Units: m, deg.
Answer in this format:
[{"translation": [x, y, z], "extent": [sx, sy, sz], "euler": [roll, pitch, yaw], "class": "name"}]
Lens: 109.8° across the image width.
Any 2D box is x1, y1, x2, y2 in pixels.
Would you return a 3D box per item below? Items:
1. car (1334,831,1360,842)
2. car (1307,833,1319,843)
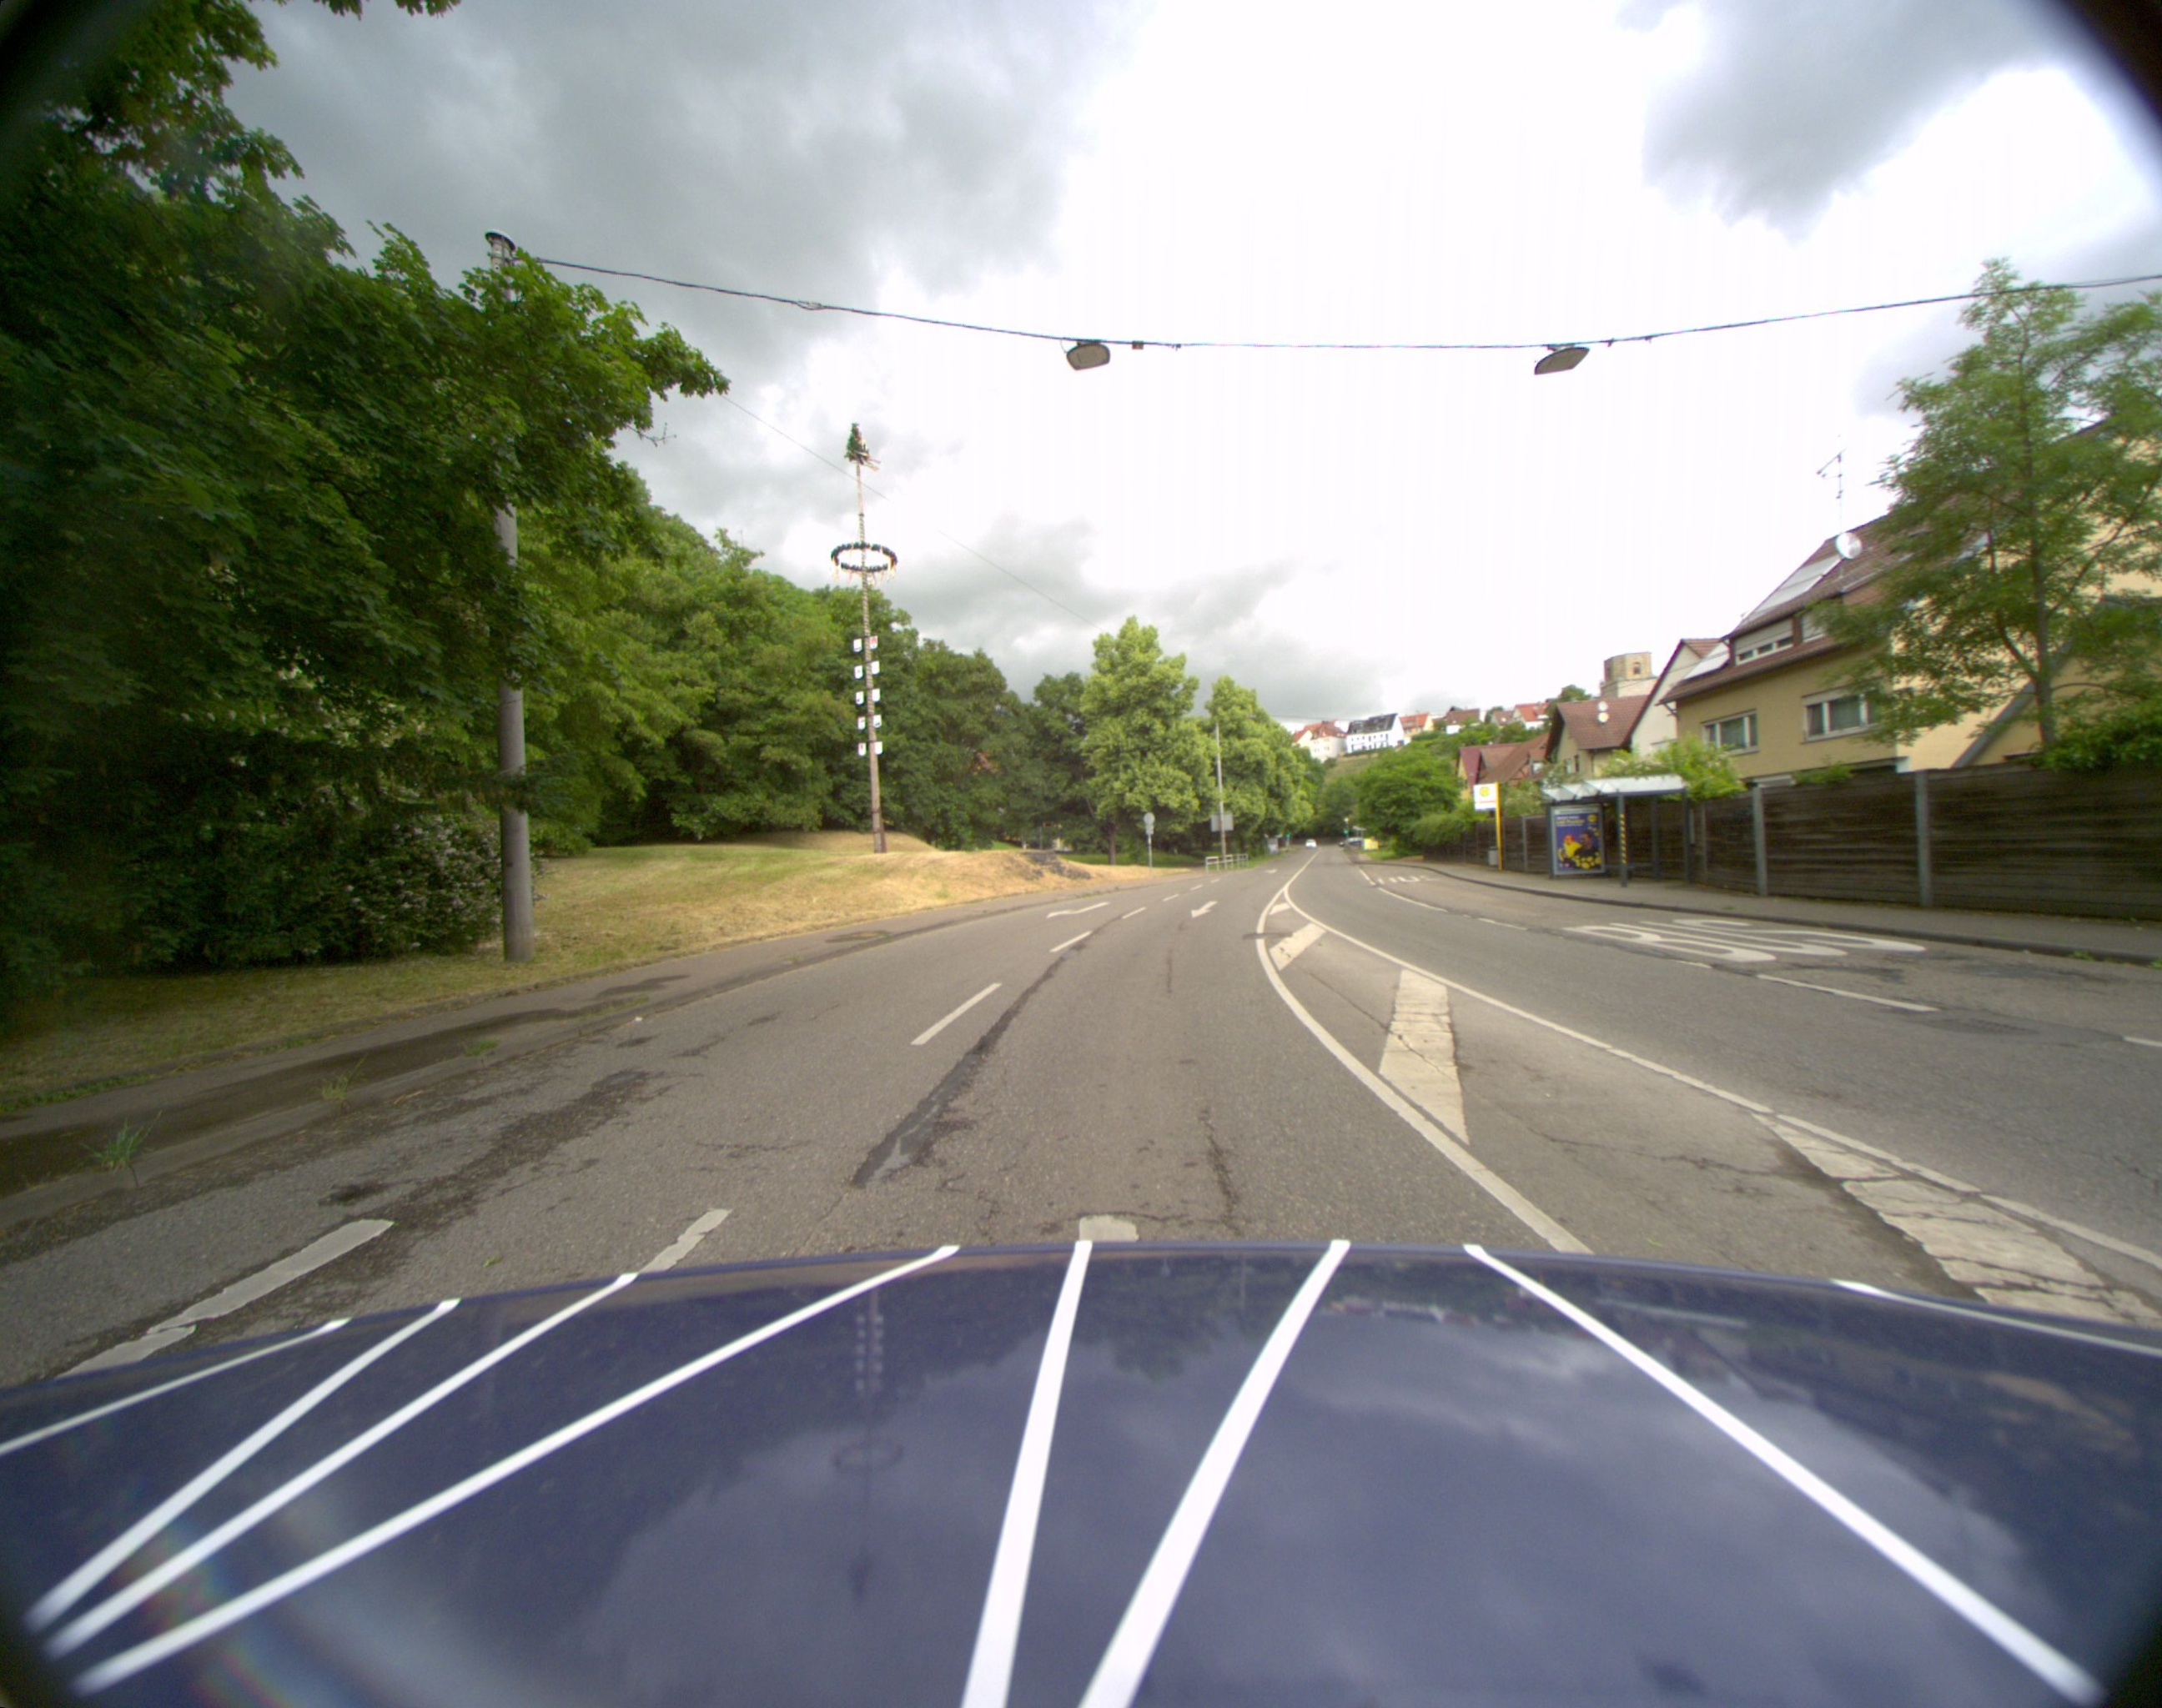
[{"translation": [44.379, -2.889, 126.816], "extent": [3.684, 1.575, 1.763], "euler": [-2, 1, -11], "class": "car"}, {"translation": [40.918, -2.818, 134.086], "extent": [1.762, 1.516, 3.687], "euler": [-2, 1, 15], "class": "car"}]
